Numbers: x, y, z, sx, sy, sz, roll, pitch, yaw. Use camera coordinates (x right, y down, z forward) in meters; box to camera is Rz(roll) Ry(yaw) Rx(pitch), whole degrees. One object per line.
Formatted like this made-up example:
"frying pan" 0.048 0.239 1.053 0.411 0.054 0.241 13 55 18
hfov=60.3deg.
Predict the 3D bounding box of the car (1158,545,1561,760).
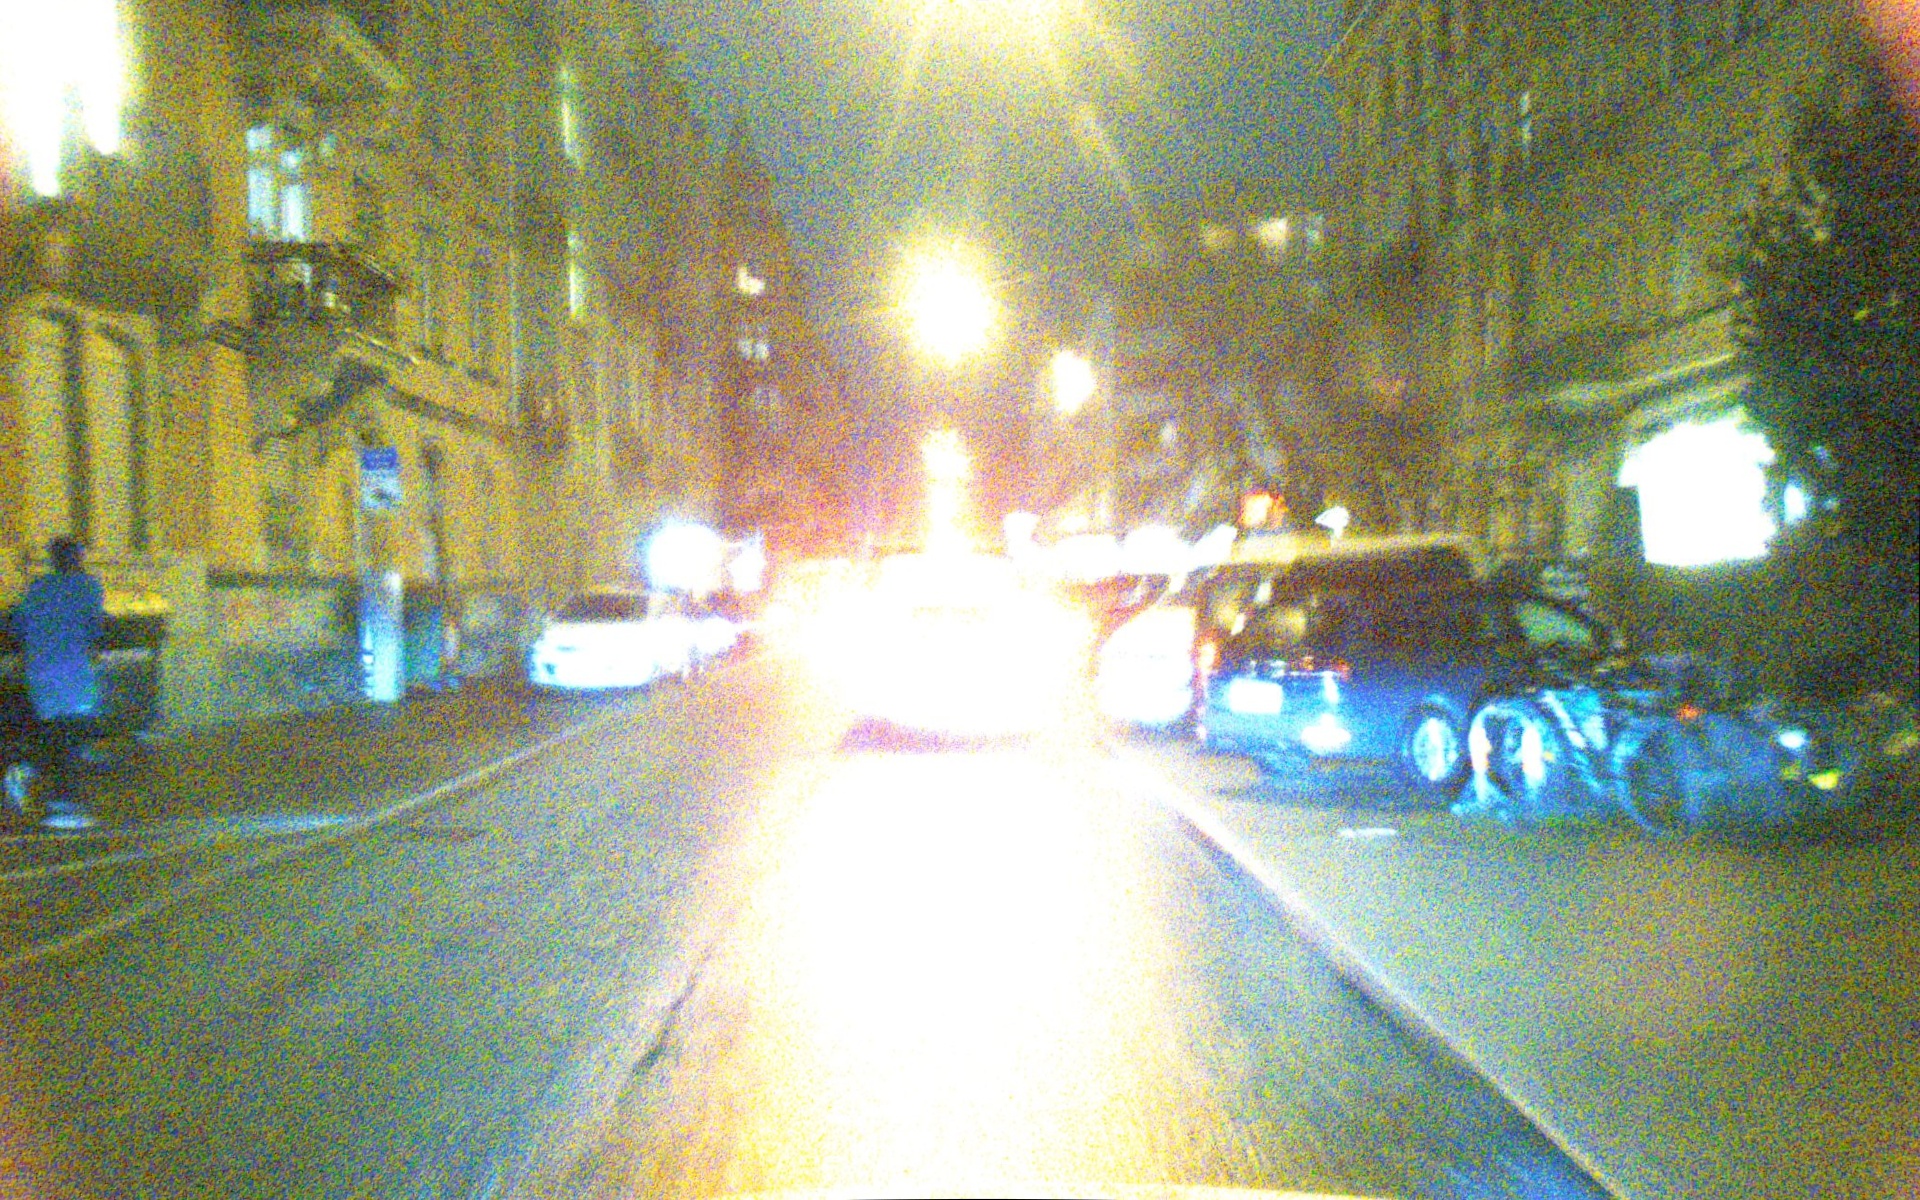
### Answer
"car" 3.785 0.428 15.574 3.517 1.741 1.630 -3 0 -30

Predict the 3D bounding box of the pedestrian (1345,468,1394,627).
"pedestrian" 9.327 -1.189 37.690 0.873 3.589 0.791 0 0 -1

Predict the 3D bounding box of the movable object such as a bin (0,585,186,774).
"movable object such as a bin" -6.991 0.608 13.288 0.954 1.423 1.133 1 0 2

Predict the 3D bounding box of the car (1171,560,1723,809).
"car" 3.726 0.541 12.543 3.943 1.518 1.718 -3 0 -29

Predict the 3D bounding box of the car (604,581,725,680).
"car" -5.044 0.483 28.657 1.623 1.584 4.073 0 0 -4

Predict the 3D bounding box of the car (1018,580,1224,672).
"car" 2.964 0.459 30.248 3.527 1.478 1.651 -3 0 -36

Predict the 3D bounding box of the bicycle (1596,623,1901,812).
"bicycle" 5.017 0.705 10.651 0.441 1.094 1.808 -2 0 -31

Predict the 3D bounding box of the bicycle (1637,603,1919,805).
"bicycle" 5.408 0.638 10.909 0.441 1.212 1.808 -2 0 -31

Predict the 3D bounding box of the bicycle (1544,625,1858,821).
"bicycle" 4.594 0.720 10.391 0.513 1.094 1.808 -2 0 -31

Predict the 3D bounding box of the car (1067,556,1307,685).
"car" 3.706 0.301 26.764 3.711 1.872 1.703 -3 0 -38

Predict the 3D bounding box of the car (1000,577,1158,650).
"car" 2.797 0.297 38.547 3.528 1.618 1.584 -1 -1 -38

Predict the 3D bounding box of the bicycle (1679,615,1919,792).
"bicycle" 5.800 0.656 11.146 0.441 1.094 1.808 -2 0 -31

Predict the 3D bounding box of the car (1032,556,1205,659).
"car" 3.423 0.143 35.437 3.529 2.025 1.584 -3 0 -38

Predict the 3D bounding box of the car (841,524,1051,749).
"car" -0.153 0.355 17.411 1.953 2.086 3.999 0 0 -1

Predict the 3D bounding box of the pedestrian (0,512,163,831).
"pedestrian" -5.383 0.420 10.105 0.579 1.852 0.794 2 0 -1

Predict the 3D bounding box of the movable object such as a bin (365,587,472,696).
"movable object such as a bin" -7.372 0.547 22.583 1.026 1.423 1.158 1 0 2

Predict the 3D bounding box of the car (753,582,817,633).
"car" -6.084 0.237 57.885 1.845 1.714 3.999 0 0 -1

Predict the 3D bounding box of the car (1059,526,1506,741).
"car" 3.594 0.294 18.177 4.737 2.084 2.044 -1 1 -32

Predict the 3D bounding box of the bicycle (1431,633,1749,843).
"bicycle" 3.672 0.760 9.794 0.513 1.094 1.808 -2 0 -31

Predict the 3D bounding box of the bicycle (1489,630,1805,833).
"bicycle" 4.135 0.744 10.097 0.513 1.094 1.808 -2 0 -31

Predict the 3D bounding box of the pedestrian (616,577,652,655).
"pedestrian" -7.272 0.354 36.859 0.687 1.734 0.539 0 0 -1

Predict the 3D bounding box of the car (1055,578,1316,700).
"car" 3.272 0.523 23.775 3.527 1.510 1.704 -3 0 -37

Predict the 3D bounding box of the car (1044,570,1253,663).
"car" 3.816 0.309 33.271 3.958 1.615 1.856 -3 1 -37

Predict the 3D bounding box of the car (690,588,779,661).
"car" -5.166 0.524 38.278 1.777 1.584 4.073 0 0 -4

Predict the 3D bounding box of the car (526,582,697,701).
"car" -4.772 0.524 23.128 1.554 1.508 3.793 0 0 0
